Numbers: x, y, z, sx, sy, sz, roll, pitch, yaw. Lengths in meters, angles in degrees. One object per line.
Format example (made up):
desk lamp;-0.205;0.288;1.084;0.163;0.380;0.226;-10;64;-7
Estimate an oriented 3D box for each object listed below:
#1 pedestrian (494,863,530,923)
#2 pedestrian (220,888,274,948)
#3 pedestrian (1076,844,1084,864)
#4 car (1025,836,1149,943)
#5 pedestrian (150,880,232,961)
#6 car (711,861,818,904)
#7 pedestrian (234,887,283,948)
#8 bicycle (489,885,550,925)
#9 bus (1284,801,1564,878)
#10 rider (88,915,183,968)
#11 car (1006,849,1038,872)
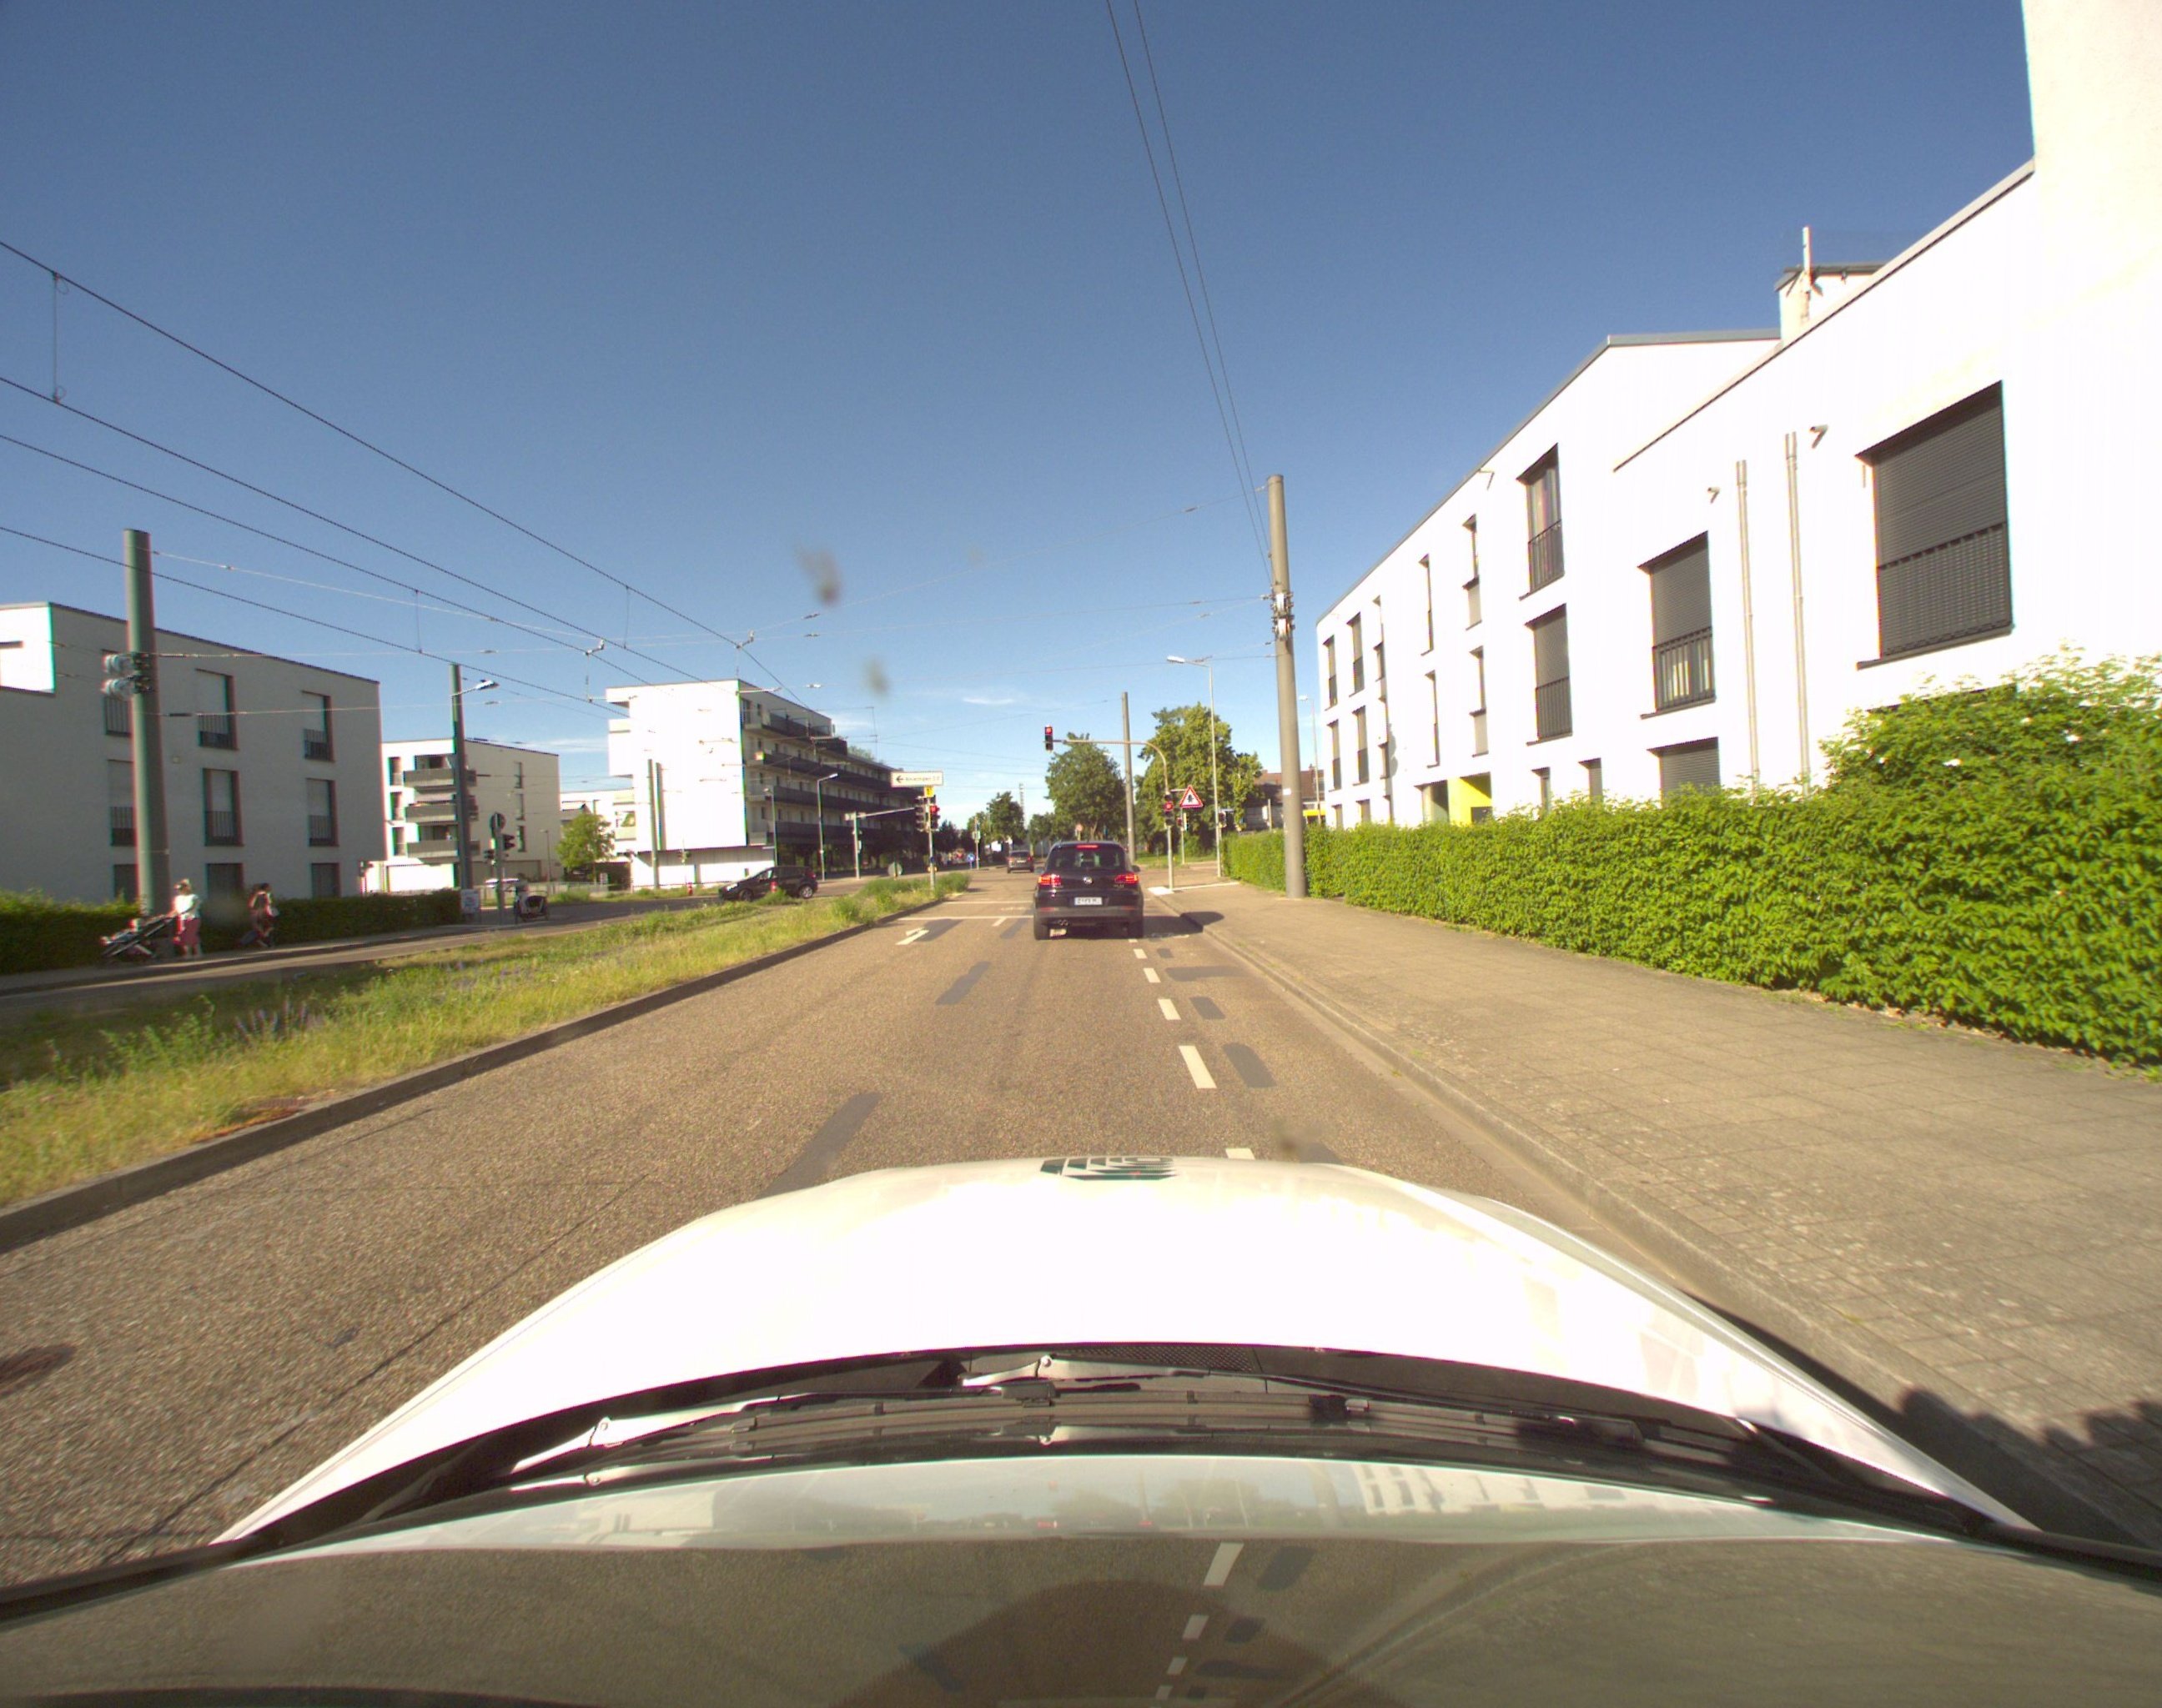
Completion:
pedestrian;-19.952;1.351;28.574;0.762;2.013;0.666;-2;0;-13
pedestrian;-21.345;1.625;20.855;0.555;1.464;0.743;-2;0;2
pedestrian;-0.105;0.003;68.353;0.600;1.640;0.530;-2;0;5
car;0.089;0.537;14.823;1.900;1.642;3.999;-2;1;0
pedestrian;-20.245;1.489;18.551;0.811;1.748;0.911;-2;0;5
car;-13.286;1.174;34.283;3.760;1.430;1.688;-6;1;-40
pedestrian;-20.786;1.599;20.580;0.555;1.464;0.612;-2;0;2
bicycle;-20.060;1.807;29.190;0.794;1.221;2.691;-2;1;-12
bus;18.566;-0.815;44.235;14.626;3.670;2.840;-2;0;-8
rider;-20.355;1.867;17.552;0.774;1.003;1.047;-2;0;6
car;-3.847;0.411;53.561;1.745;1.387;3.999;-2;1;0
